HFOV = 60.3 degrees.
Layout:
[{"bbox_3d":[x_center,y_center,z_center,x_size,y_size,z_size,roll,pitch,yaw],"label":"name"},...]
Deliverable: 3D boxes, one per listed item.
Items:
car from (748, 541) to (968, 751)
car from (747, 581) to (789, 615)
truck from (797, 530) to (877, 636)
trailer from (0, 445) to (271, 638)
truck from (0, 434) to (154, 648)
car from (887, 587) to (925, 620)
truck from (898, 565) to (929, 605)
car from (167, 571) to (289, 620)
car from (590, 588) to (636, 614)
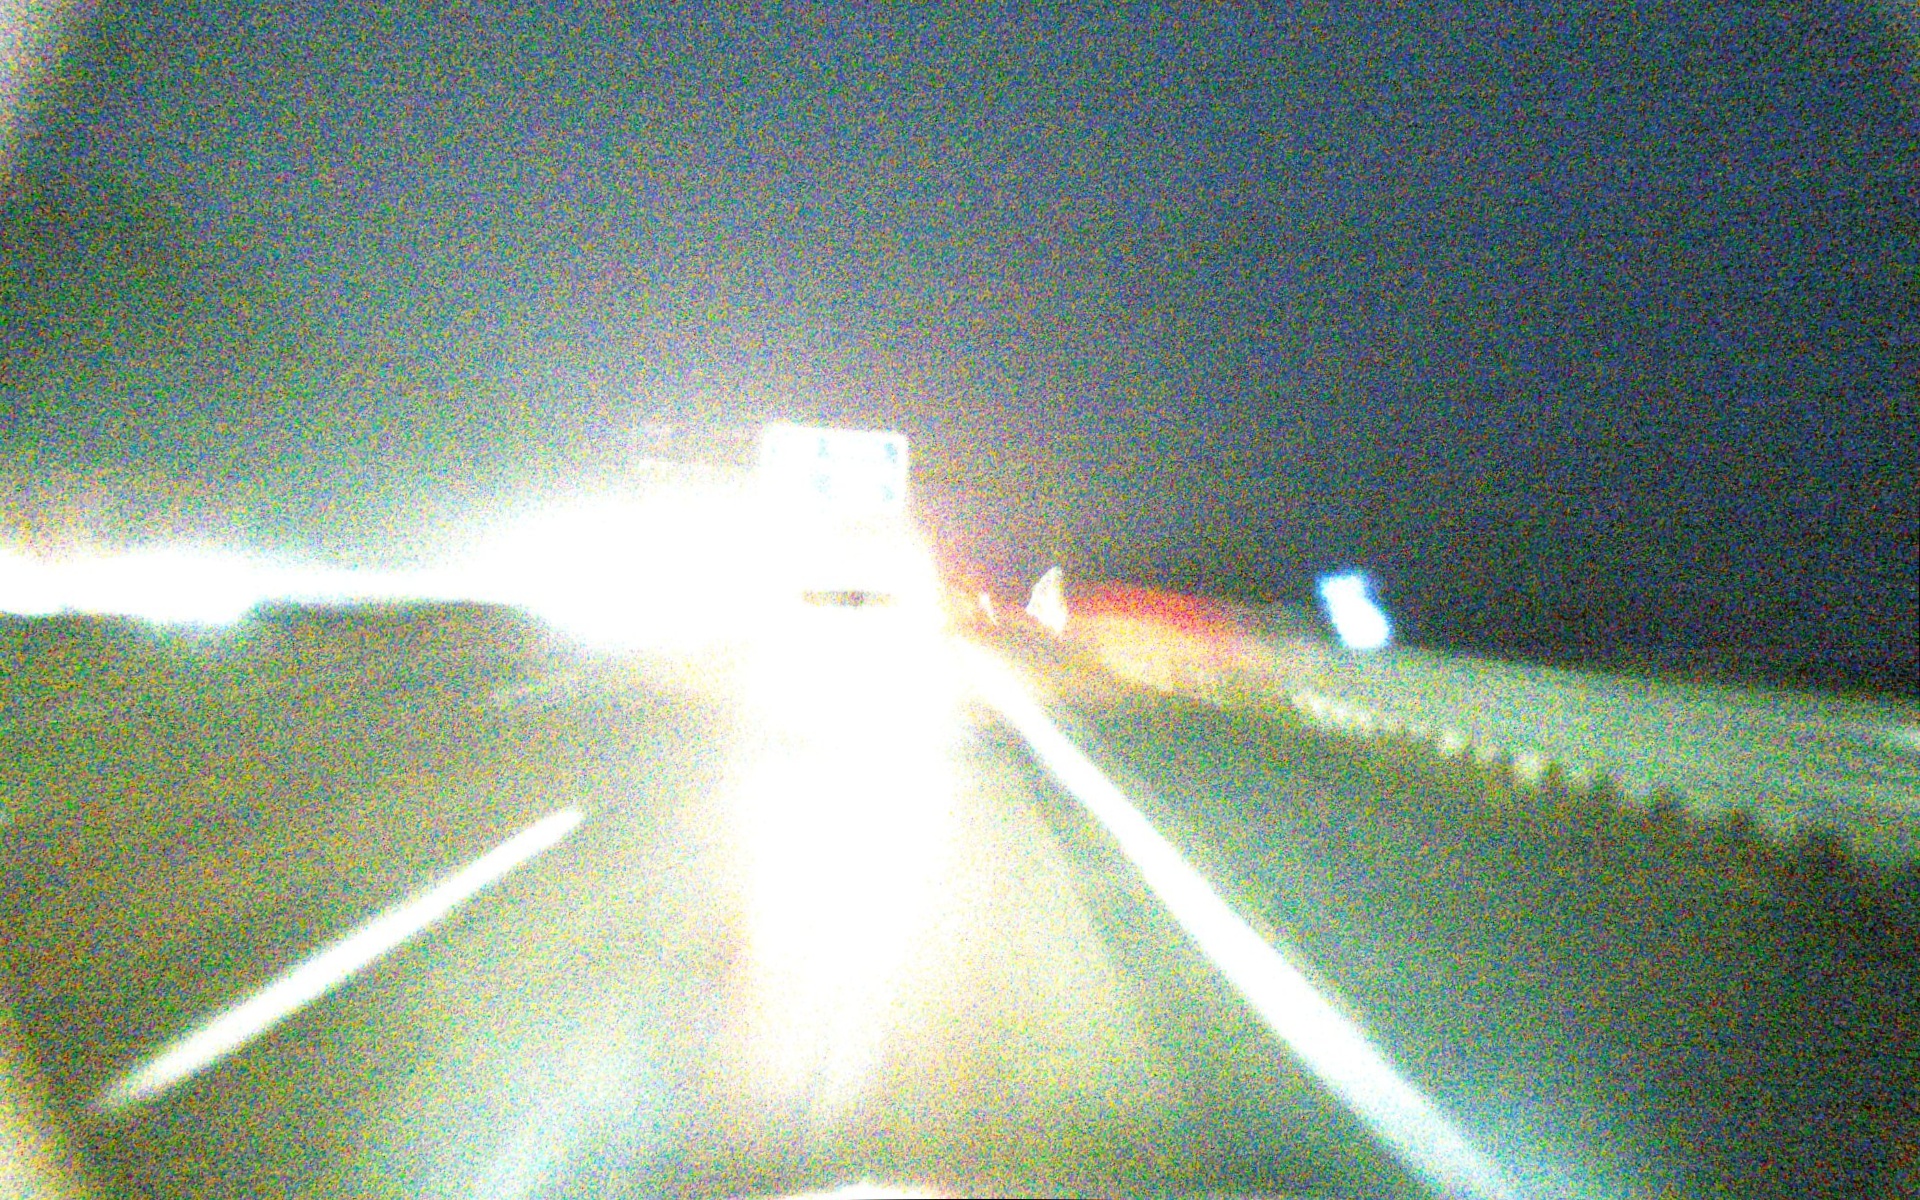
[{"bbox_3d":[-0.997,0.415,17.371,1.914,1.823,5.122,2,0,-2],"label":"car"},{"bbox_3d":[-11.123,-0.112,96.129,1.954,1.736,4.194,6,0,-2],"label":"car"},{"bbox_3d":[-7.059,-0.929,97.333,4.084,5.641,13.068,2,0,-2],"label":"truck"},{"bbox_3d":[-26.074,-1.735,52.812,4.254,5.229,8.992,5,0,-2],"label":"trailer"},{"bbox_3d":[-25.660,-1.642,43.000,4.254,5.229,10.467,5,0,-3],"label":"truck"},{"bbox_3d":[-3.006,0.195,91.310,1.954,1.736,4.193,2,0,-3],"label":"car"},{"bbox_3d":[-6.139,-1.904,218.066,3.747,5.001,11.600,2,0,-2],"label":"truck"},{"bbox_3d":[-20.971,-0.128,47.544,1.673,1.242,4.271,3,0,-2],"label":"car"},{"bbox_3d":[-22.125,0.051,105.570,1.932,1.490,5.367,3,0,-2],"label":"car"}]
